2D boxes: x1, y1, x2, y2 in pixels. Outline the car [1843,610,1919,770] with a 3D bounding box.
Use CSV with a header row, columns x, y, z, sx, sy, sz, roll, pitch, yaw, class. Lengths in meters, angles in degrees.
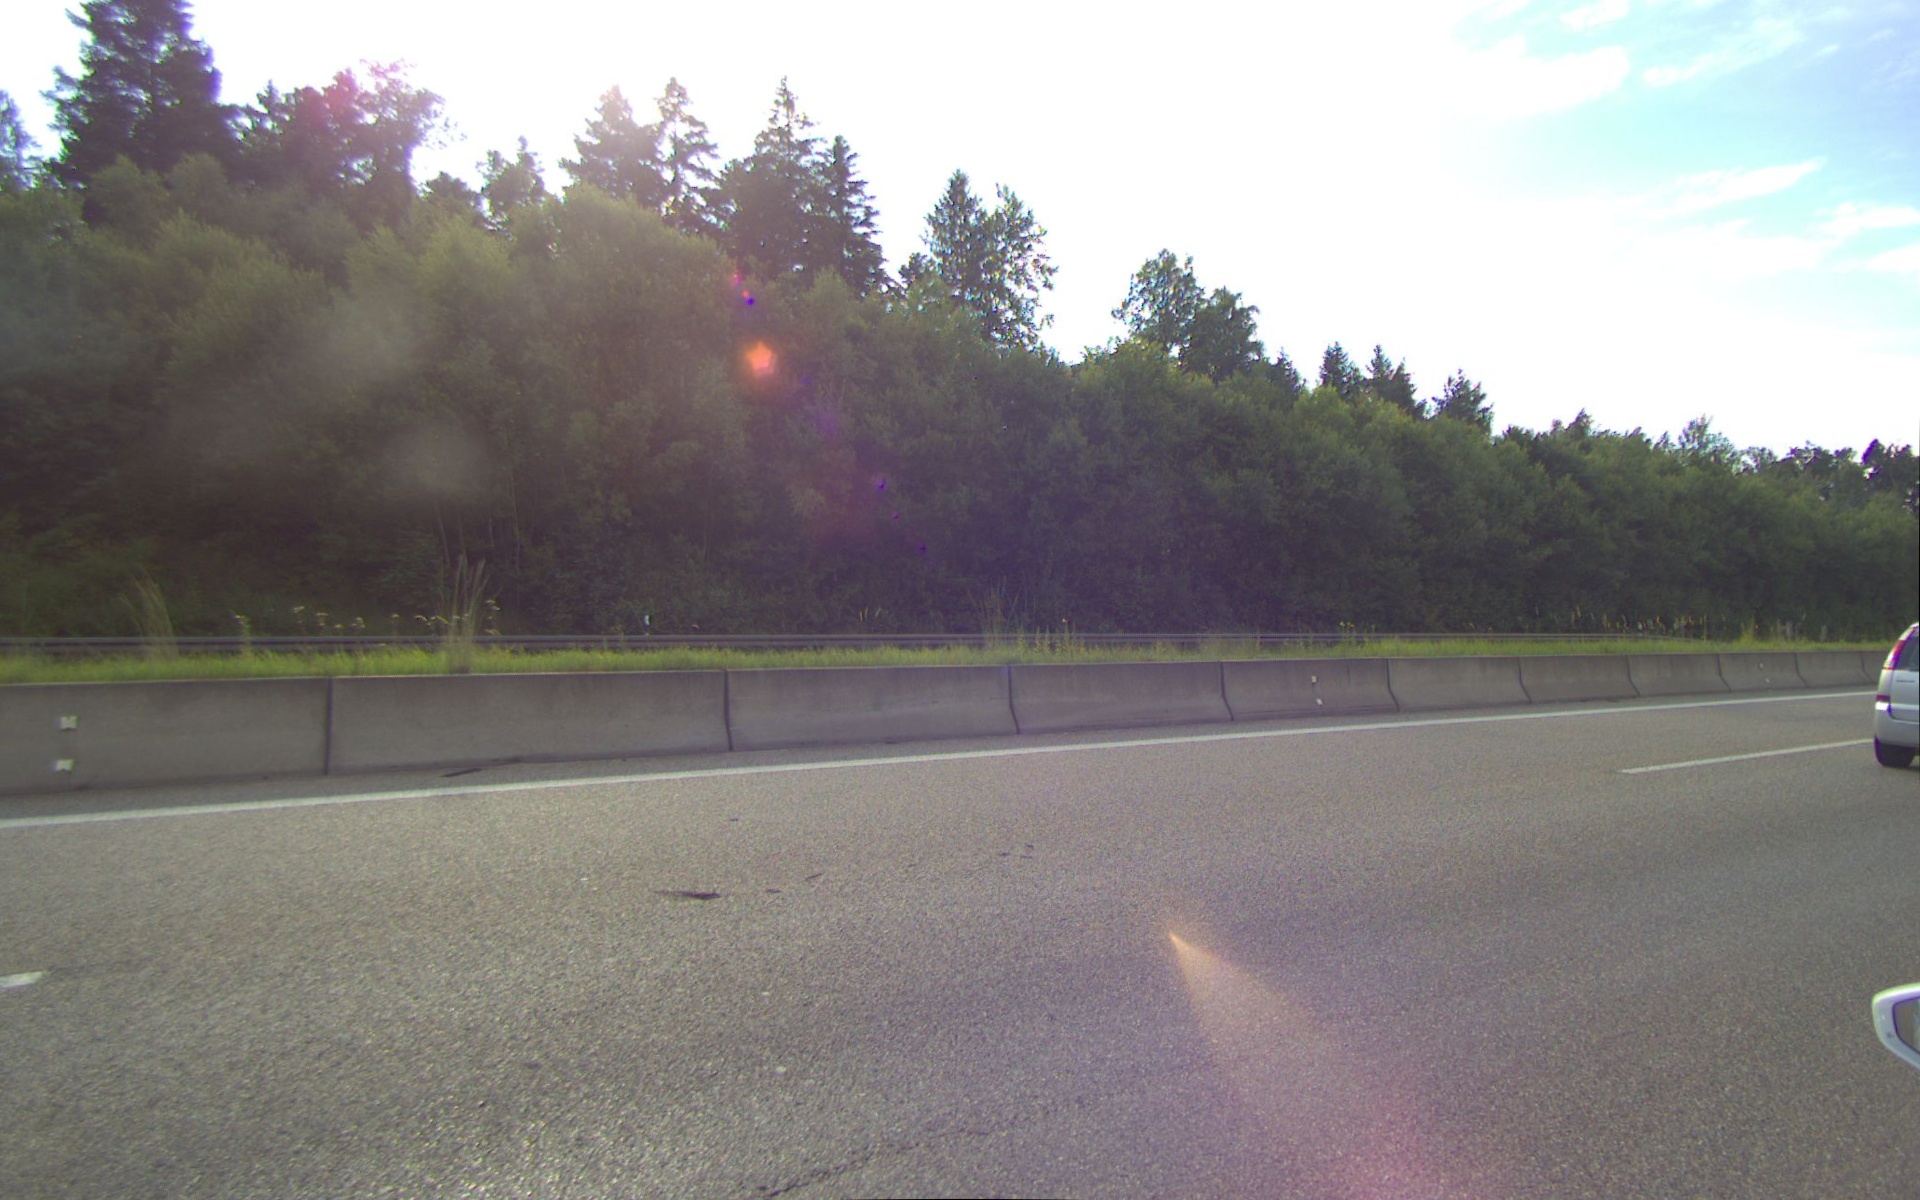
x,y,z,sx,sy,sz,roll,pitch,yaw,class
11.274,0.906,10.470,4.281,1.537,1.827,1,-1,-30,car
